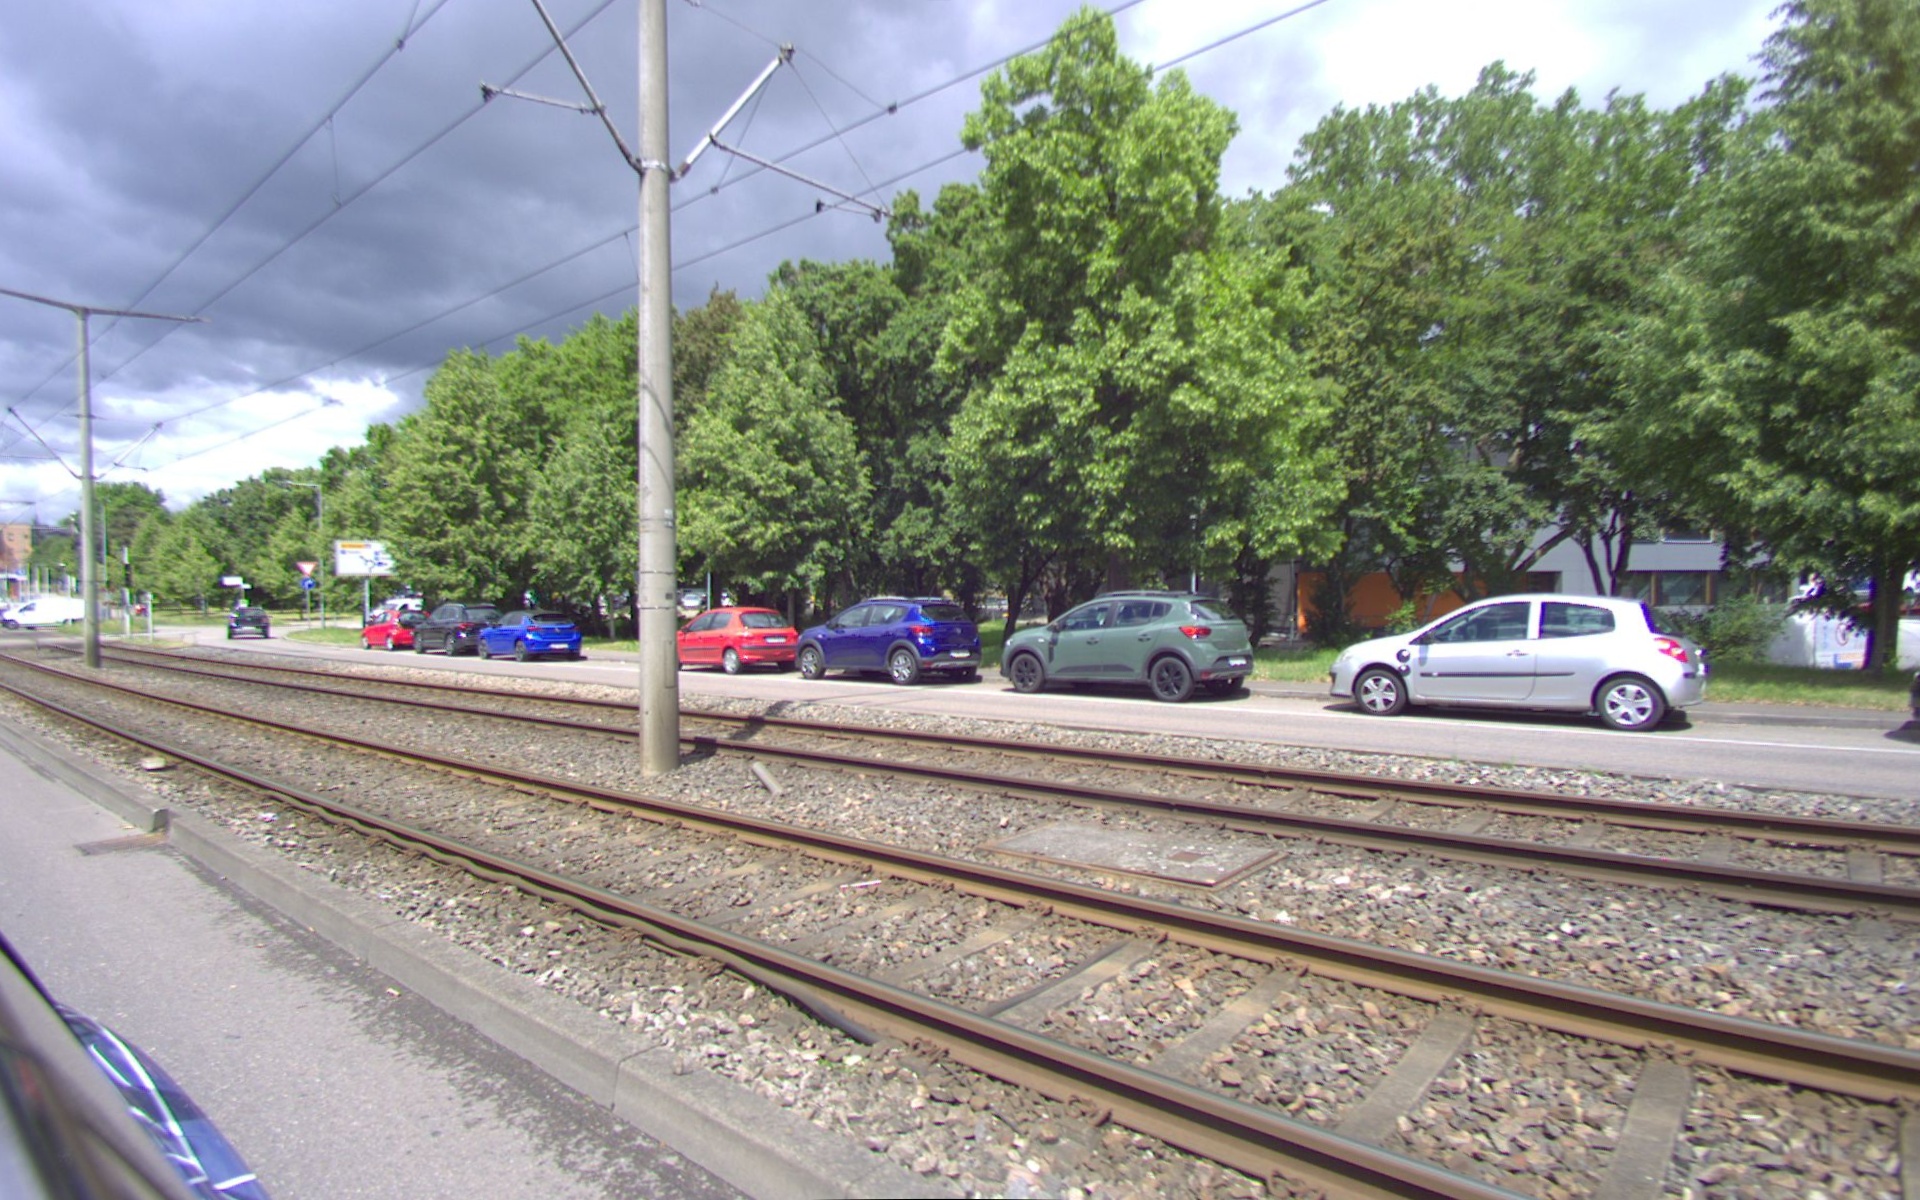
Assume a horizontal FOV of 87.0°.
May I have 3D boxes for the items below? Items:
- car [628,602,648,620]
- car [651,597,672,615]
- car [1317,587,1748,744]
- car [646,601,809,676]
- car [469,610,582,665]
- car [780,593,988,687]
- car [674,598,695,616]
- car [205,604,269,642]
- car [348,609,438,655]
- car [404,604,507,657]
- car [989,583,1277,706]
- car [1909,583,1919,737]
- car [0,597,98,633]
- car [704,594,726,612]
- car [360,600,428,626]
[{"bbox_3d":[-29.645,1.022,93.263,1.728,1.430,4.013,-2,2,-17],"label":"car"},{"bbox_3d":[-27.517,0.562,93.280,1.728,1.430,4.013,-2,2,-17],"label":"car"},{"bbox_3d":[6.583,0.654,11.919,4.190,1.505,1.577,-1,2,41],"label":"car"},{"bbox_3d":[-5.306,0.835,22.796,4.048,1.505,1.595,-2,0,44],"label":"car"},{"bbox_3d":[-12.633,1.050,29.328,4.009,1.472,1.595,-1,-2,44],"label":"car"},{"bbox_3d":[-1.531,0.729,19.266,4.160,1.608,1.540,-1,-2,43],"label":"car"},{"bbox_3d":[-25.553,0.624,93.861,1.728,1.430,4.013,-2,2,-17],"label":"car"},{"bbox_3d":[-34.349,1.066,48.035,3.999,1.585,1.596,1,3,42],"label":"car"},{"bbox_3d":[-20.761,1.115,36.991,3.658,1.462,1.597,1,3,39],"label":"car"},{"bbox_3d":[-16.481,0.983,32.947,4.374,1.617,1.563,-1,-1,43],"label":"car"},{"bbox_3d":[2.534,0.637,15.503,4.125,1.635,1.624,-1,-1,43],"label":"car"},{"bbox_3d":[10.558,0.502,8.198,4.128,1.370,1.495,-1,-1,43],"label":"car"},{"bbox_3d":[-57.057,0.936,62.761,5.150,2.033,1.885,-1,2,-10],"label":"car"},{"bbox_3d":[-23.018,0.264,94.981,1.728,1.430,4.013,-2,2,-17],"label":"car"},{"bbox_3d":[-42.095,0.931,75.385,1.730,1.702,4.322,0,2,21],"label":"car"}]
